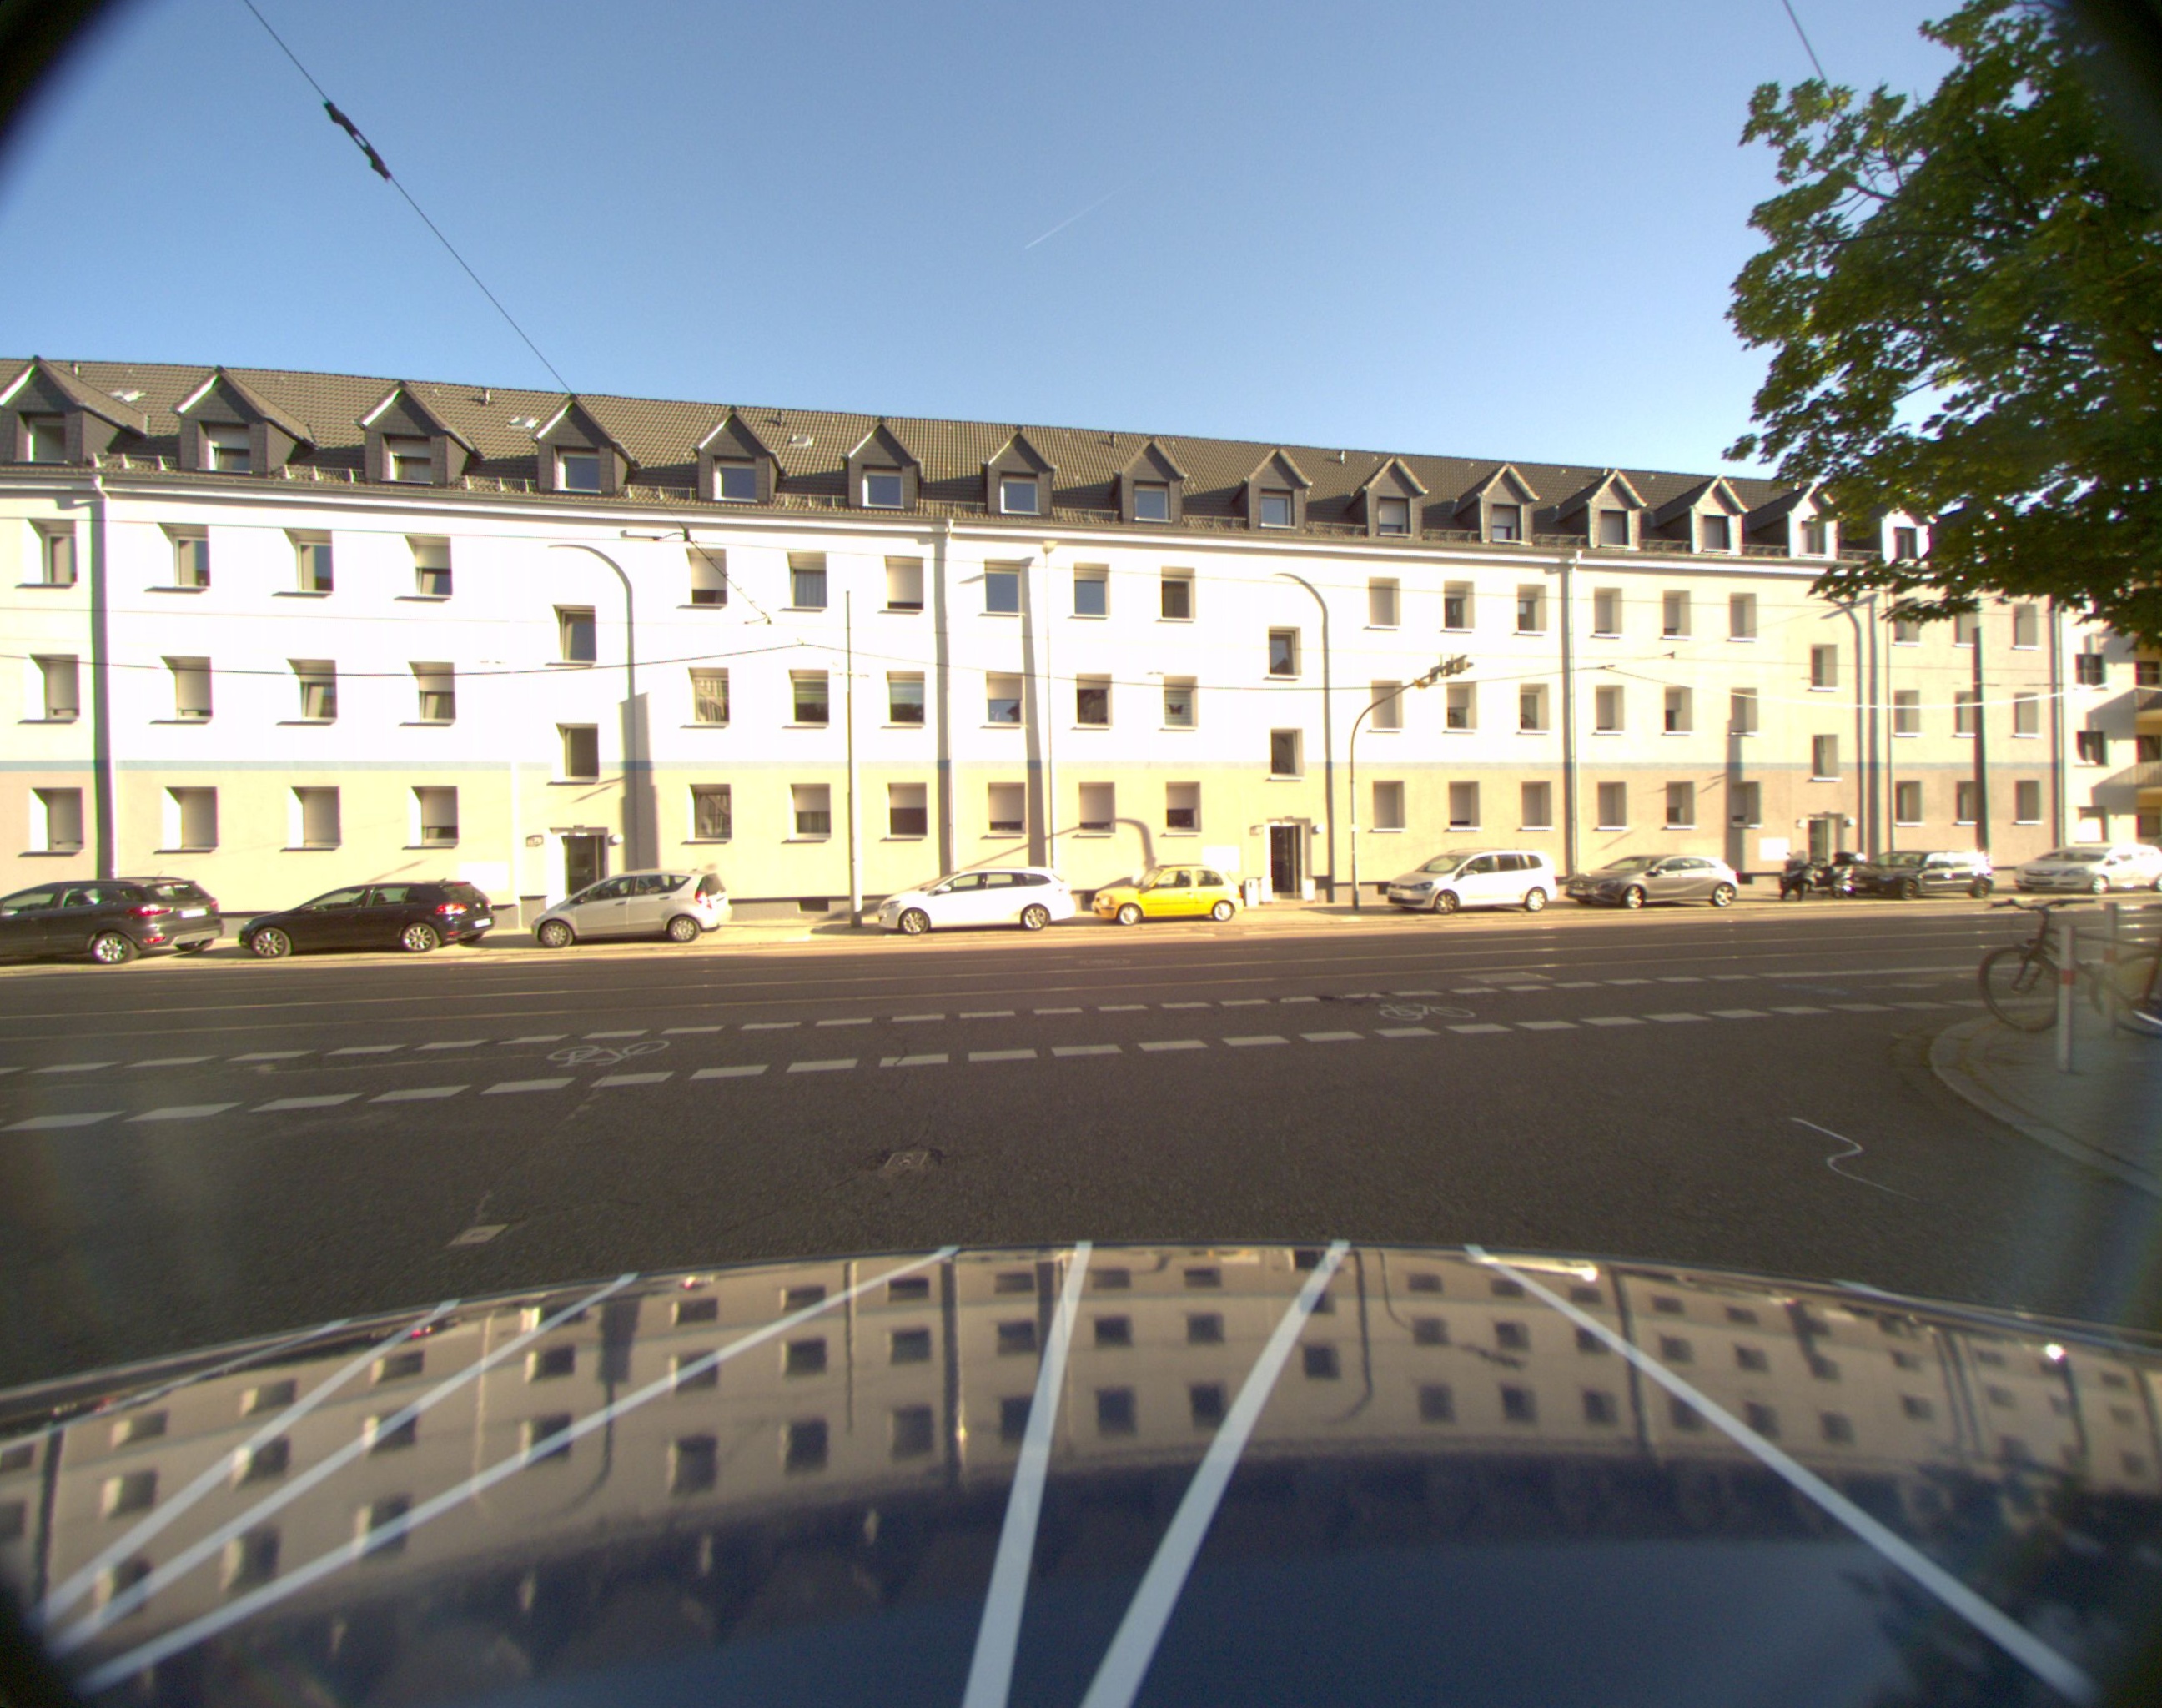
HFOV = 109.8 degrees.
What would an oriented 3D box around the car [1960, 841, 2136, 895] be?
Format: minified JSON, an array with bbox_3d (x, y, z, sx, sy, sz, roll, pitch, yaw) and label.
[{"bbox_3d":[30.767,0.401,24.231,3.904,1.562,1.804,-1,2,-10],"label":"car"}]

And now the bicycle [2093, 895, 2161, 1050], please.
[{"bbox_3d":[8.079,0.855,4.900,0.595,1.078,1.810,-1,0,-7],"label":"bicycle"}]

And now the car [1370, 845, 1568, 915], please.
[{"bbox_3d":[10.316,0.642,20.309,4.627,1.656,1.758,-1,2,-12],"label":"car"}]

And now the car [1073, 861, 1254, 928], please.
[{"bbox_3d":[2.017,0.953,18.938,4.201,1.422,1.517,-2,1,-10],"label":"car"}]

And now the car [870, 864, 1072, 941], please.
[{"bbox_3d":[-2.570,1.089,18.042,4.509,1.562,1.683,-1,2,-9],"label":"car"}]

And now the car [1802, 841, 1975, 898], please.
[{"bbox_3d":[24.387,0.440,23.012,3.903,1.562,1.612,-1,2,-8],"label":"car"}]

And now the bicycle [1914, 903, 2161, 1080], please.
[{"bbox_3d":[7.403,0.954,5.474,0.595,1.078,1.882,-1,0,-7],"label":"bicycle"}]

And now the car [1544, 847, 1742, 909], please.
[{"bbox_3d":[15.552,0.620,21.141,4.366,1.546,1.868,-1,2,-8],"label":"car"}]

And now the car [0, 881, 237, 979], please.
[{"bbox_3d":[-20.050,1.490,15.252,3.904,1.661,1.663,-1,4,-8],"label":"car"}]

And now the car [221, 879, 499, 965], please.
[{"bbox_3d":[-14.994,1.376,16.025,4.007,1.529,1.595,-1,2,-8],"label":"car"}]

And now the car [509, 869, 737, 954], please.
[{"bbox_3d":[-10.008,1.218,16.898,3.903,1.562,1.758,-1,3,-8],"label":"car"}]

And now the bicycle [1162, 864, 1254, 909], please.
[{"bbox_3d":[3.577,0.896,21.520,2.327,1.190,1.098,-1,0,-11],"label":"bicycle"}]

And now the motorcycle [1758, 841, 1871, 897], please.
[{"bbox_3d":[21.029,0.407,21.803,2.708,1.513,0.807,-1,2,-8],"label":"motorcycle"}]
